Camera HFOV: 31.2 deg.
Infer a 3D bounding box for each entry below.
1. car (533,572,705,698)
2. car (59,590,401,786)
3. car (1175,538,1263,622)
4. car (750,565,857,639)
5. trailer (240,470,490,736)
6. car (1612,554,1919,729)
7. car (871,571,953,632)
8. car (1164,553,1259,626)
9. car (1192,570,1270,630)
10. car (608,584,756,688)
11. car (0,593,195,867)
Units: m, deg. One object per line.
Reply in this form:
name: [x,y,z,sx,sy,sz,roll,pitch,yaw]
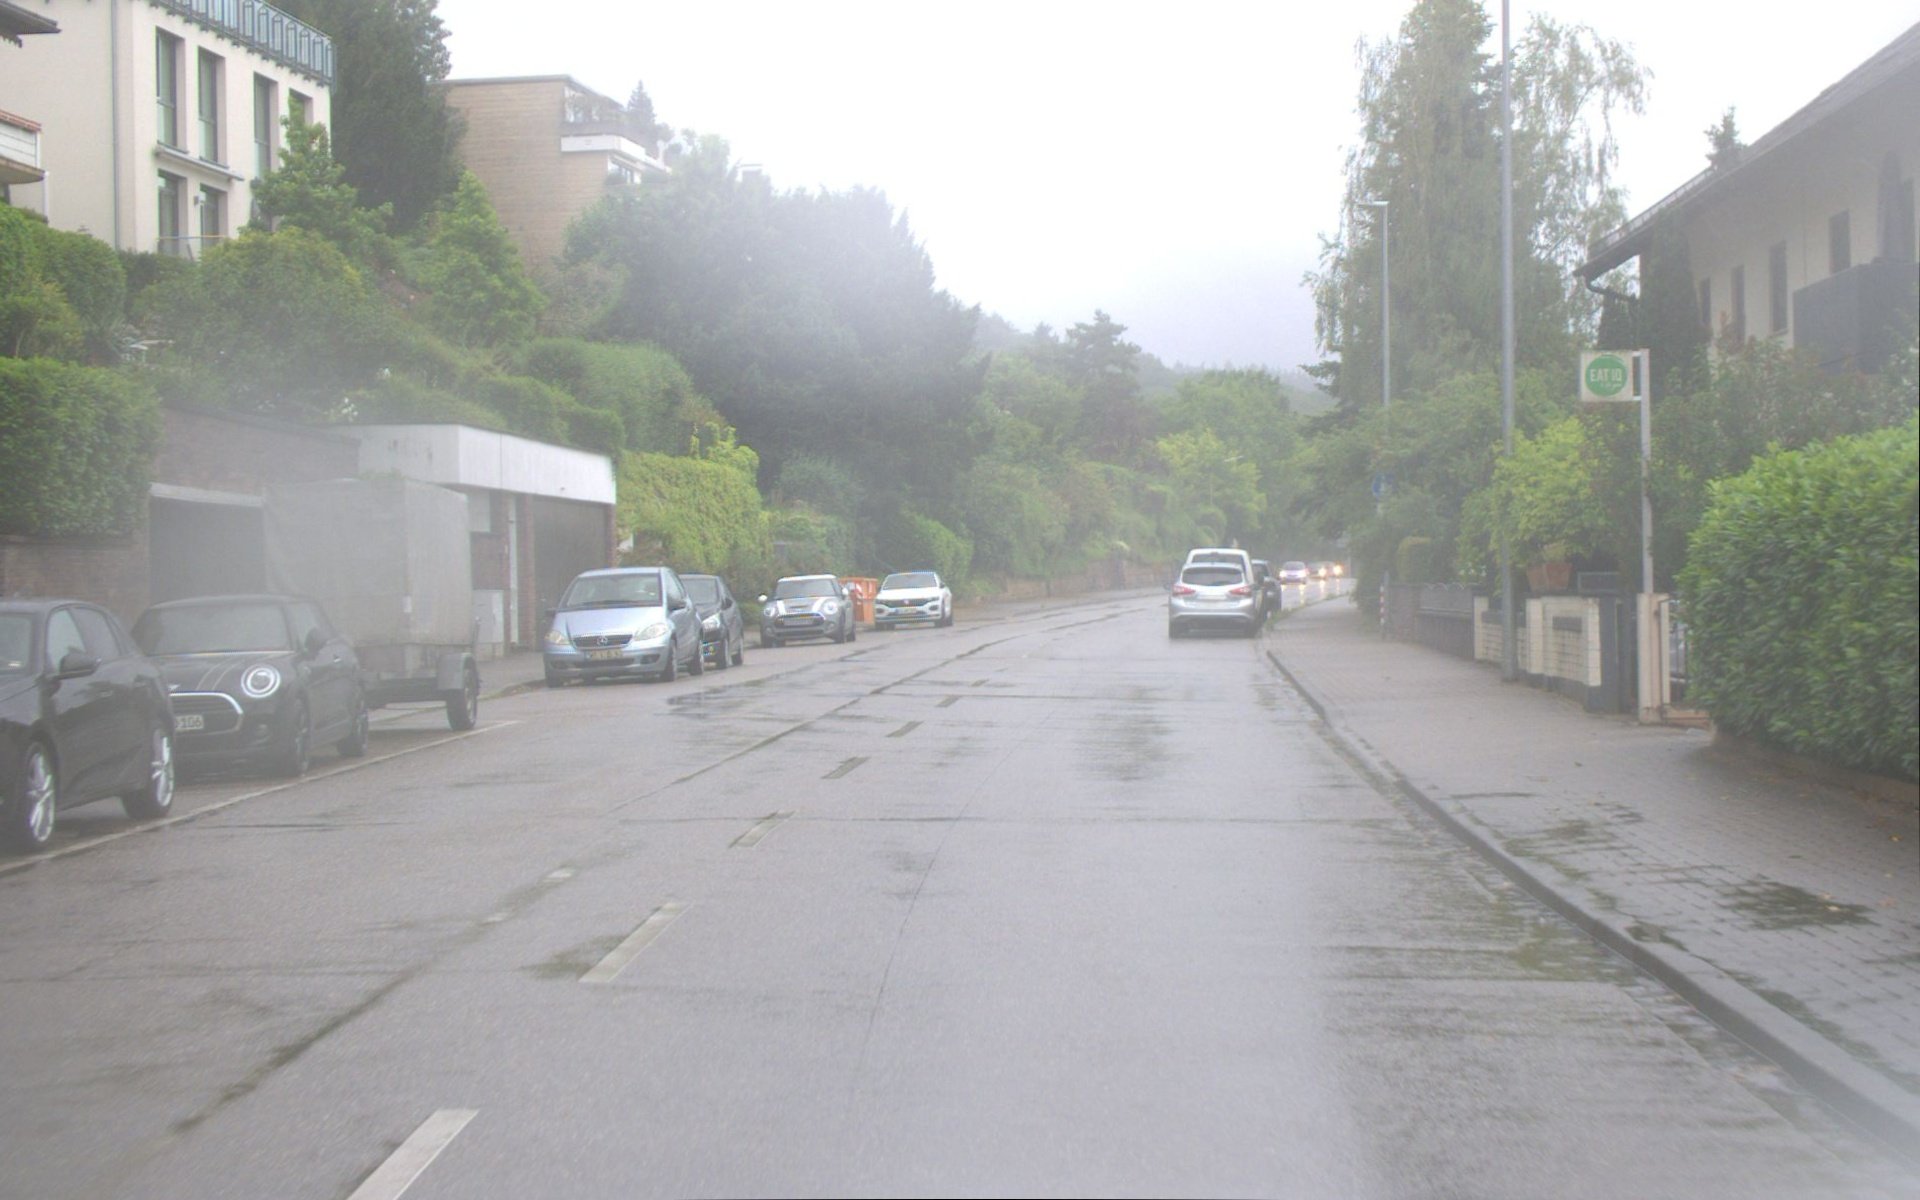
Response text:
car: [-4.685,0.455,47.670,1.756,1.534,3.756,-3,1,3]
car: [-5.731,0.649,27.421,1.808,1.345,3.776,-2,1,1]
car: [5.758,-0.441,76.087,1.785,1.784,4.360,0,0,6]
car: [-3.187,0.025,70.522,1.756,1.398,3.769,-3,0,3]
trailer: [-5.699,0.004,33.247,1.537,2.391,3.072,-3,1,5]
car: [8.104,0.374,30.661,4.221,1.441,1.702,2,1,1]
car: [-1.235,0.023,89.478,1.756,1.492,4.219,-2,0,4]
car: [5.188,-0.226,70.501,1.789,1.455,4.307,0,0,6]
car: [6.494,-0.004,82.058,1.709,1.398,4.202,0,0,6]
car: [-4.262,0.525,53.251,1.756,1.404,3.704,-3,1,3]
car: [-6.035,0.725,20.716,1.785,1.410,4.217,-2,1,1]
